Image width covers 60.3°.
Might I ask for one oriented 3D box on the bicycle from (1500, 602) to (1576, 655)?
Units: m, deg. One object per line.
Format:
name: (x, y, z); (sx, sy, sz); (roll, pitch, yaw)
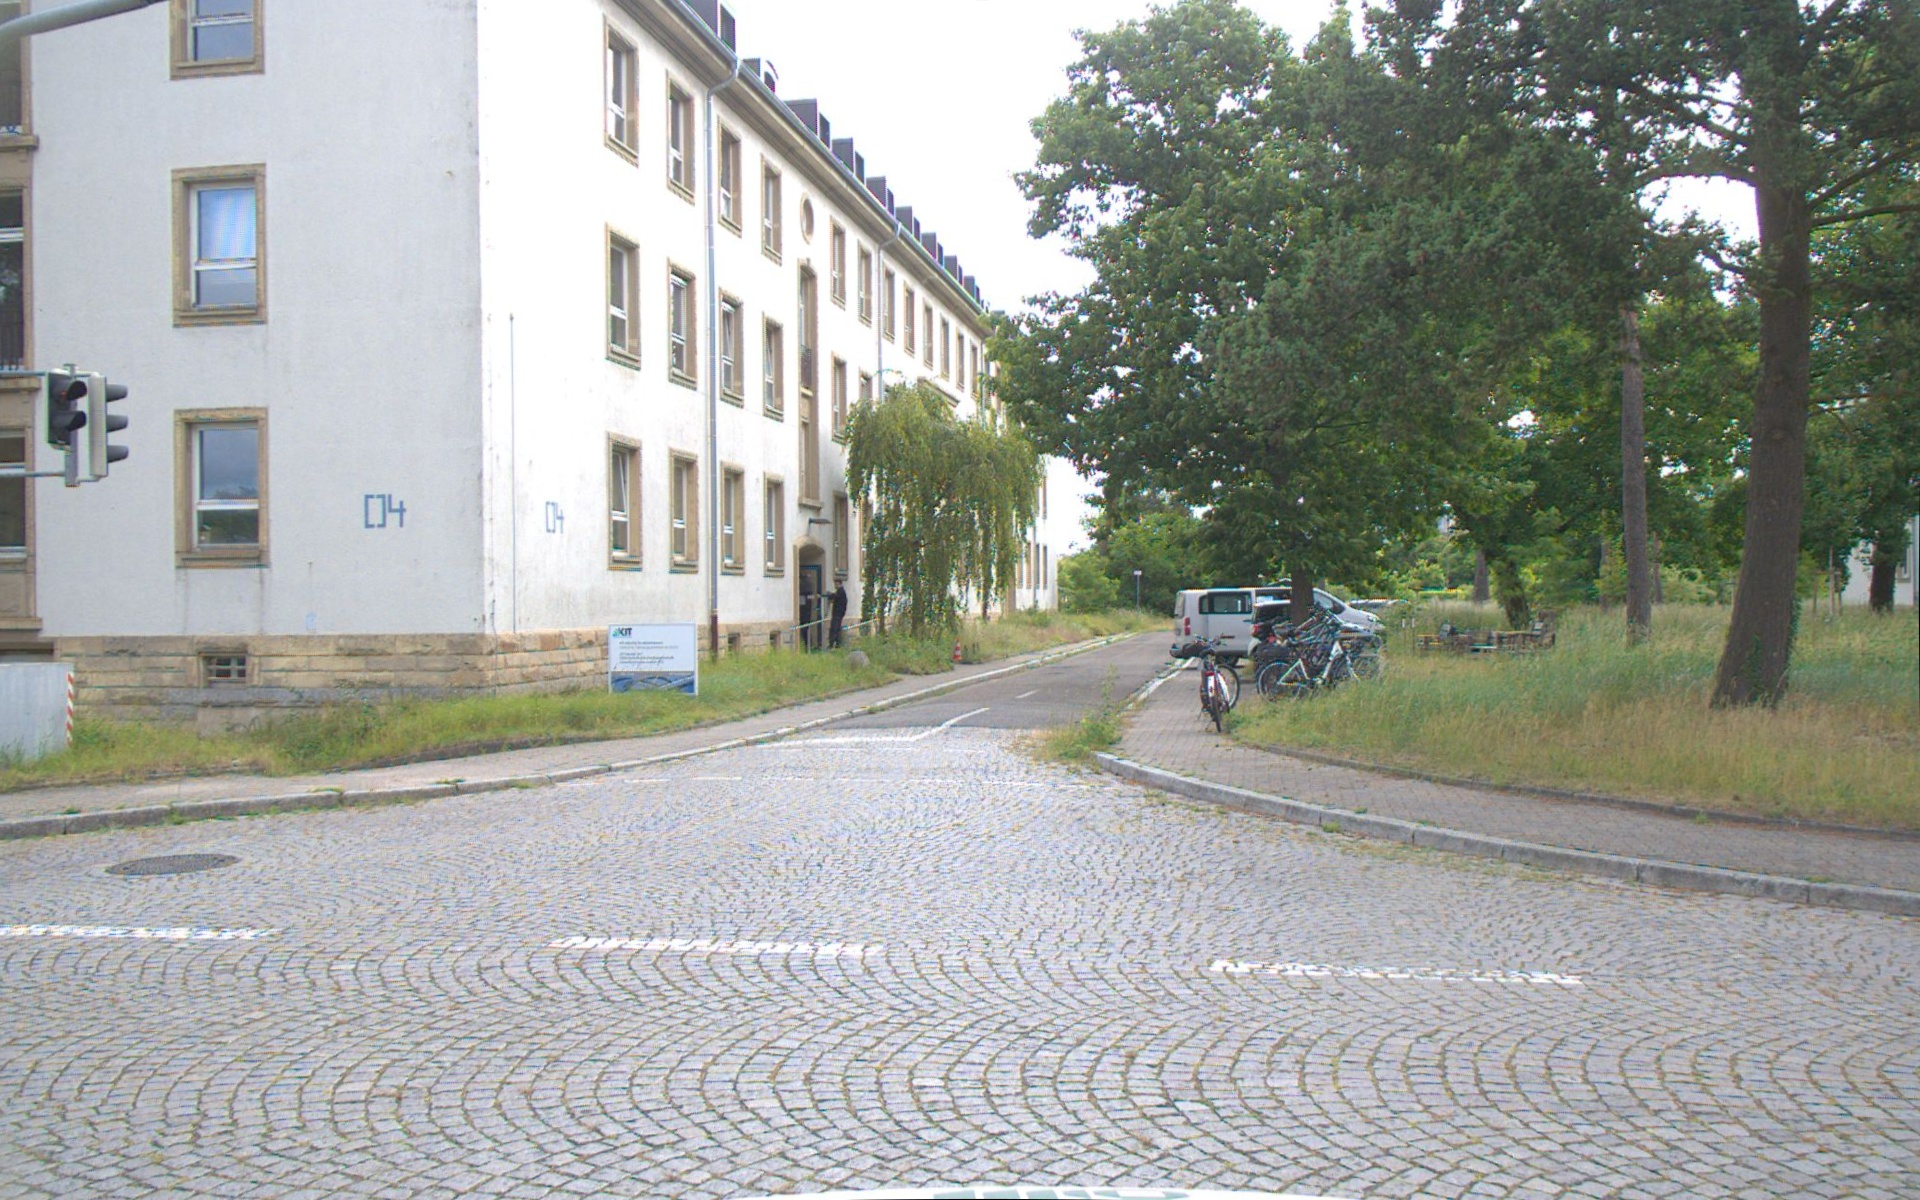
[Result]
bicycle: (12.697, 0.633, 36.351); (1.516, 1.144, 0.401); (-1, 0, 12)

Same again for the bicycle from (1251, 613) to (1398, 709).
bicycle: (4.991, 0.824, 22.732); (1.940, 1.269, 0.625); (0, -1, 9)

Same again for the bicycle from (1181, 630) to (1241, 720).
bicycle: (3.297, 0.954, 21.603); (0.609, 1.101, 1.679); (0, 0, 14)

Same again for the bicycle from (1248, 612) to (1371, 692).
bicycle: (5.759, 0.849, 27.325); (1.940, 1.269, 0.625); (0, -1, 9)

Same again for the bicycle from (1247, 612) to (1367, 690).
bicycle: (5.823, 0.851, 27.836); (1.940, 1.269, 0.625); (0, -1, 9)

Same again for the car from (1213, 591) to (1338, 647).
car: (10.337, 0.621, 54.307); (3.945, 1.748, 1.682); (-1, -1, 9)

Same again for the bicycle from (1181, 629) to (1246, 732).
bicycle: (3.034, 0.928, 19.662); (0.609, 1.133, 1.990); (0, 0, 13)

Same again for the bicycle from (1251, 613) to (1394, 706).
bicycle: (5.096, 0.827, 23.353); (1.940, 1.269, 0.625); (0, -1, 9)

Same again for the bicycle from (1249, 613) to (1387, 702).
bicycle: (5.237, 0.832, 24.270); (1.940, 1.269, 0.625); (0, -1, 9)

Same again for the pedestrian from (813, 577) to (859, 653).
pedestrian: (-3.025, 0.364, 40.449); (0.819, 1.812, 0.942); (-1, 0, 16)

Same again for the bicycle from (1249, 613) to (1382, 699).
bicycle: (5.381, 0.836, 25.118); (1.940, 1.269, 0.625); (0, -1, 9)

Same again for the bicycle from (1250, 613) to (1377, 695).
bicycle: (5.595, 0.843, 26.258); (1.940, 1.269, 0.625); (0, -1, 9)

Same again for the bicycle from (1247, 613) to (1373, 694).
bicycle: (5.621, 0.845, 26.650); (1.940, 1.269, 0.625); (0, -1, 9)

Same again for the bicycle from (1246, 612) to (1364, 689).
bicycle: (5.890, 0.854, 28.326); (1.940, 1.269, 0.625); (0, -1, 9)

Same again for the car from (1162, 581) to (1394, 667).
car: (7.759, 0.572, 40.648); (5.200, 1.949, 2.148); (-1, 0, -4)

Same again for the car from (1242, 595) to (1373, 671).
car: (7.757, 0.739, 37.107); (2.786, 1.585, 1.473); (-1, 1, 10)

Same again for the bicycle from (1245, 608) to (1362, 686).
bicycle: (6.000, 0.818, 28.977); (1.940, 1.269, 0.625); (-2, -1, 9)

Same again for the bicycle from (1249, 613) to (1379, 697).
bicycle: (5.492, 0.840, 25.742); (1.940, 1.269, 0.625); (0, -1, 9)

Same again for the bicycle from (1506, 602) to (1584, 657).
bicycle: (12.416, 0.628, 35.149); (1.516, 1.144, 0.401); (-1, 0, 12)
